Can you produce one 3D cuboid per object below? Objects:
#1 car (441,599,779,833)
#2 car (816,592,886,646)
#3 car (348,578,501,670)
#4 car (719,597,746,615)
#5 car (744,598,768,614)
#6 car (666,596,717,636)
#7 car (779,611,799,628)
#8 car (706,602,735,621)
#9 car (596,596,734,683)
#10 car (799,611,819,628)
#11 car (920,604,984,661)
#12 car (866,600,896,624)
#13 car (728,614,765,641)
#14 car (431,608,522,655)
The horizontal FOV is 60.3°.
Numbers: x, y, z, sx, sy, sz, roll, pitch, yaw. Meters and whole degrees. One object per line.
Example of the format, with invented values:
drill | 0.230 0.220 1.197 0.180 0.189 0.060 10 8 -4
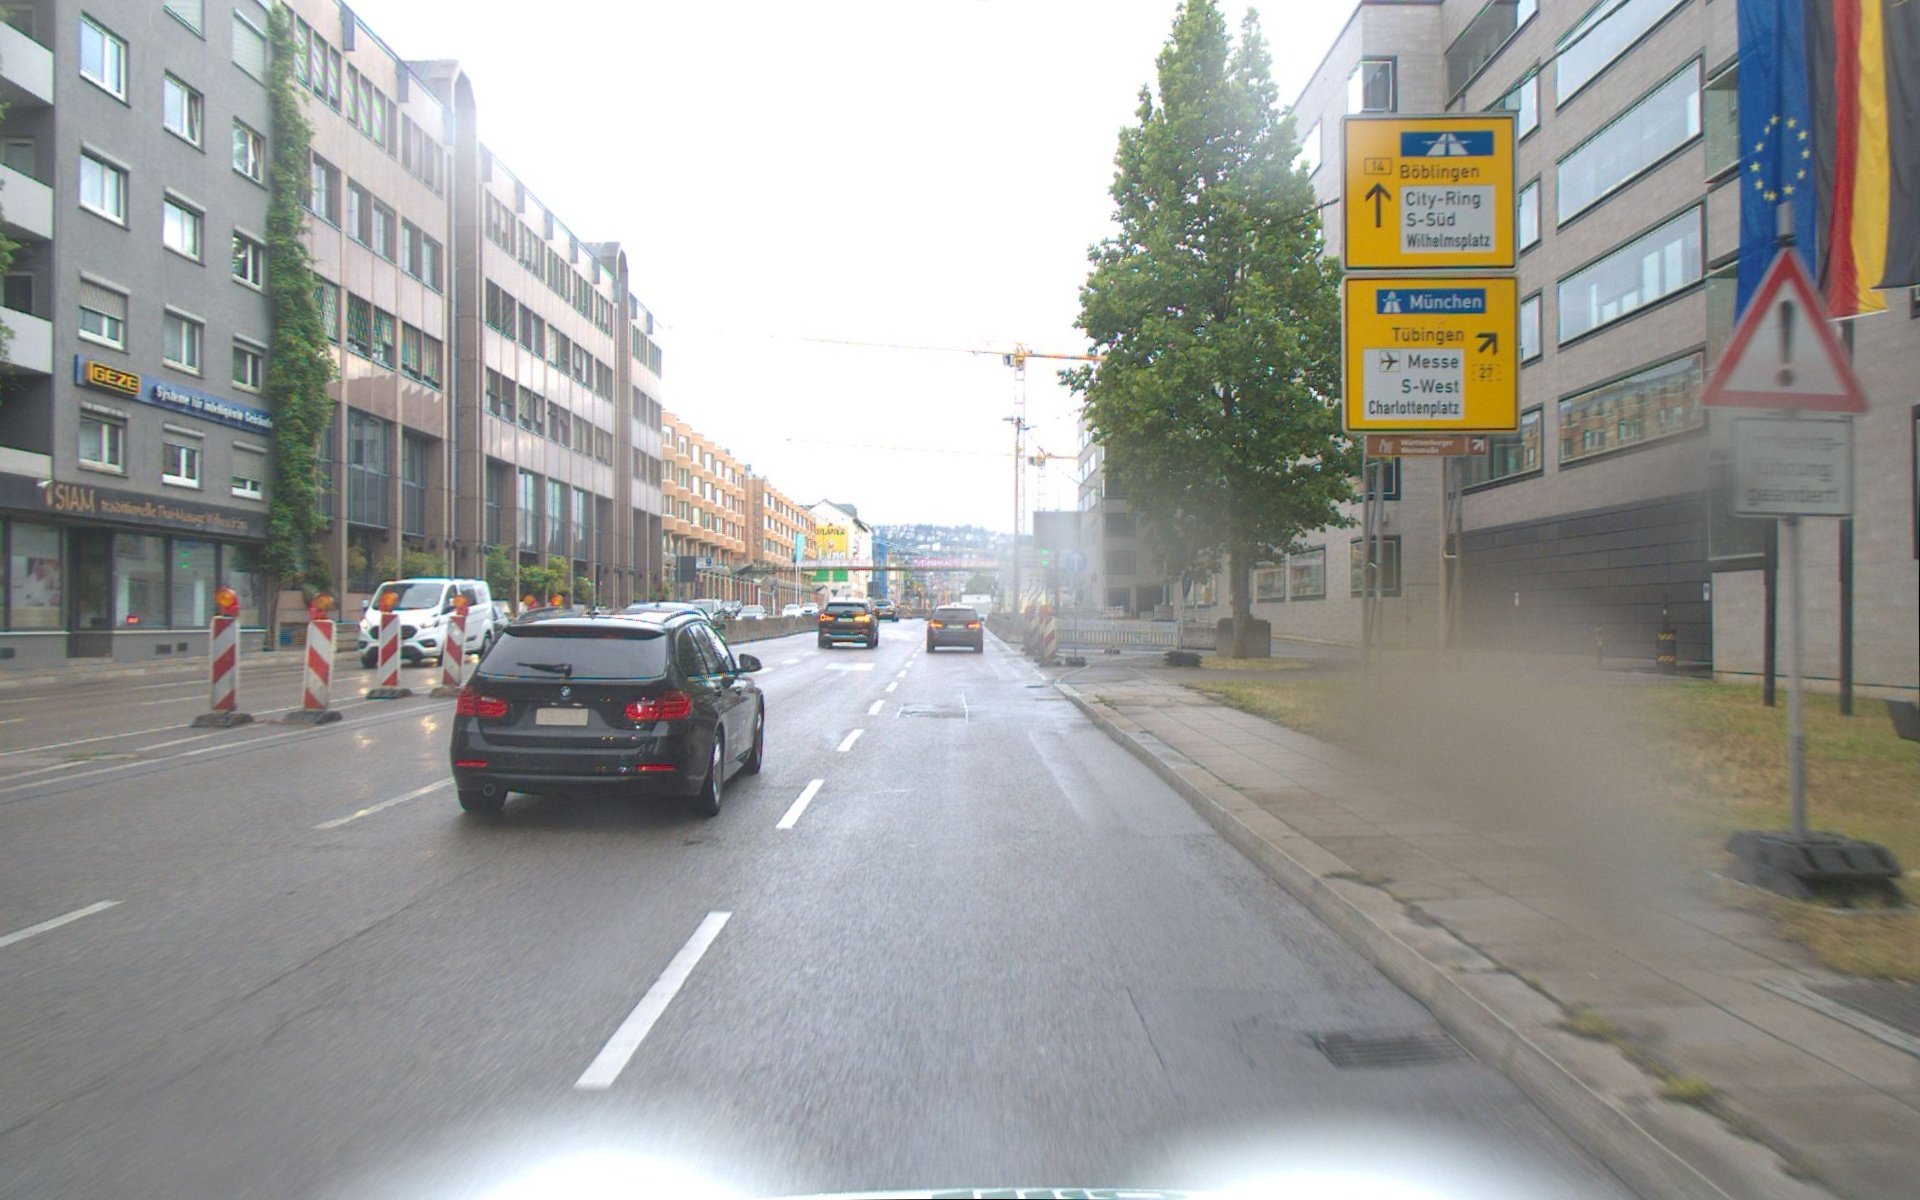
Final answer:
car | -2.477 0.740 12.824 1.755 1.451 4.611 1 0 -2
car | -3.640 0.630 55.775 1.860 1.723 4.001 -1 0 3
car | -12.695 0.543 39.592 1.953 2.025 5.288 -1 0 0
car | -22.311 0.582 162.466 1.953 1.648 4.318 -1 0 0
car | -22.178 0.636 179.693 1.952 1.648 4.690 -1 0 0
car | -12.702 0.727 78.450 1.686 1.801 4.425 -1 0 0
car | -15.909 1.792 153.963 1.570 1.467 3.657 -1 1 -1
car | -21.789 1.060 150.514 1.952 1.648 4.763 -1 0 0
car | -5.307 0.680 30.288 1.754 1.451 4.384 -1 0 -1
car | -15.826 2.054 173.922 1.783 1.647 4.191 -1 1 -1
car | -0.207 0.999 52.419 1.860 1.723 4.001 -1 0 2
car | -5.954 0.908 125.476 1.860 1.723 4.001 -1 0 3
car | -13.219 1.705 102.781 1.823 1.560 4.229 -1 0 -1
car | -15.656 0.992 53.713 1.664 1.424 4.021 -1 0 1
